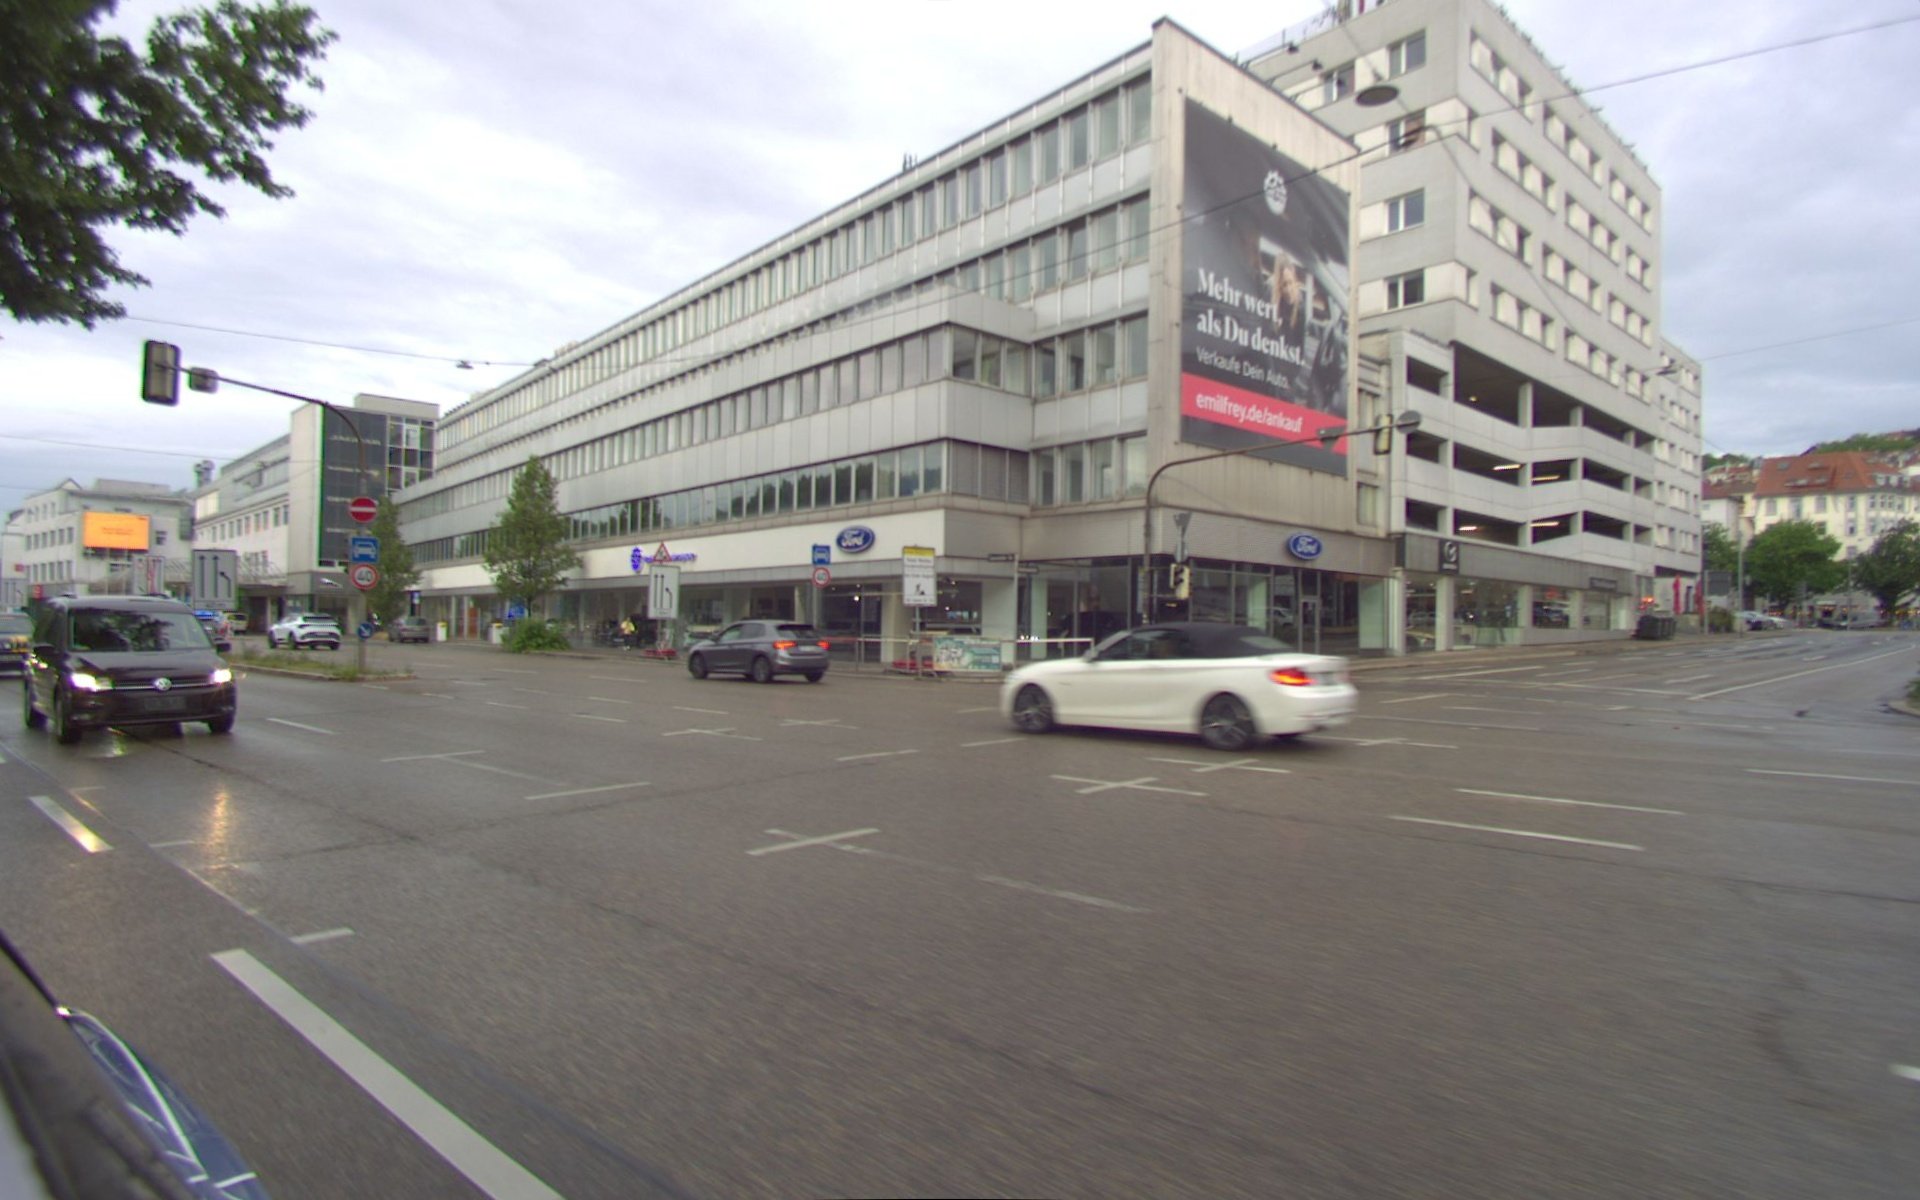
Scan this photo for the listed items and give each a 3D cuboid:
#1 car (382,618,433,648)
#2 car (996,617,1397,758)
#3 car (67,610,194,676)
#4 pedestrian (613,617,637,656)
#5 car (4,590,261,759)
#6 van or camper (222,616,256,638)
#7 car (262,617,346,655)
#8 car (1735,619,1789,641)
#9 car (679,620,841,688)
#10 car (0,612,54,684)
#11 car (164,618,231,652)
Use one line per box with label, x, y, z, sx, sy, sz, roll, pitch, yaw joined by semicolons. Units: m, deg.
car;-37.087;2.189;67.870;1.896;1.829;4.167;-2;1;-45
car;2.709;0.924;12.225;4.403;1.404;1.811;-1;-3;42
car;-22.799;1.138;27.768;4.328;1.611;1.792;-1;1;38
pedestrian;-15.786;1.731;47.738;0.750;1.788;0.864;-2;1;-43
car;-11.036;0.846;13.380;4.428;1.828;1.881;-1;1;41
van or camper;-66.695;2.460;93.571;1.902;1.944;4.258;-2;1;-44
car;-29.602;1.569;45.640;4.451;1.622;1.871;-1;-1;39
car;71.634;2.687;90.418;3.725;1.874;1.818;-2;-2;41
car;-4.810;1.216;24.116;4.039;1.476;1.691;-1;-2;41
car;-23.494;1.139;24.489;4.331;1.611;1.791;-1;1;41
car;-33.861;1.545;44.907;3.861;1.447;1.665;-1;-2;42
